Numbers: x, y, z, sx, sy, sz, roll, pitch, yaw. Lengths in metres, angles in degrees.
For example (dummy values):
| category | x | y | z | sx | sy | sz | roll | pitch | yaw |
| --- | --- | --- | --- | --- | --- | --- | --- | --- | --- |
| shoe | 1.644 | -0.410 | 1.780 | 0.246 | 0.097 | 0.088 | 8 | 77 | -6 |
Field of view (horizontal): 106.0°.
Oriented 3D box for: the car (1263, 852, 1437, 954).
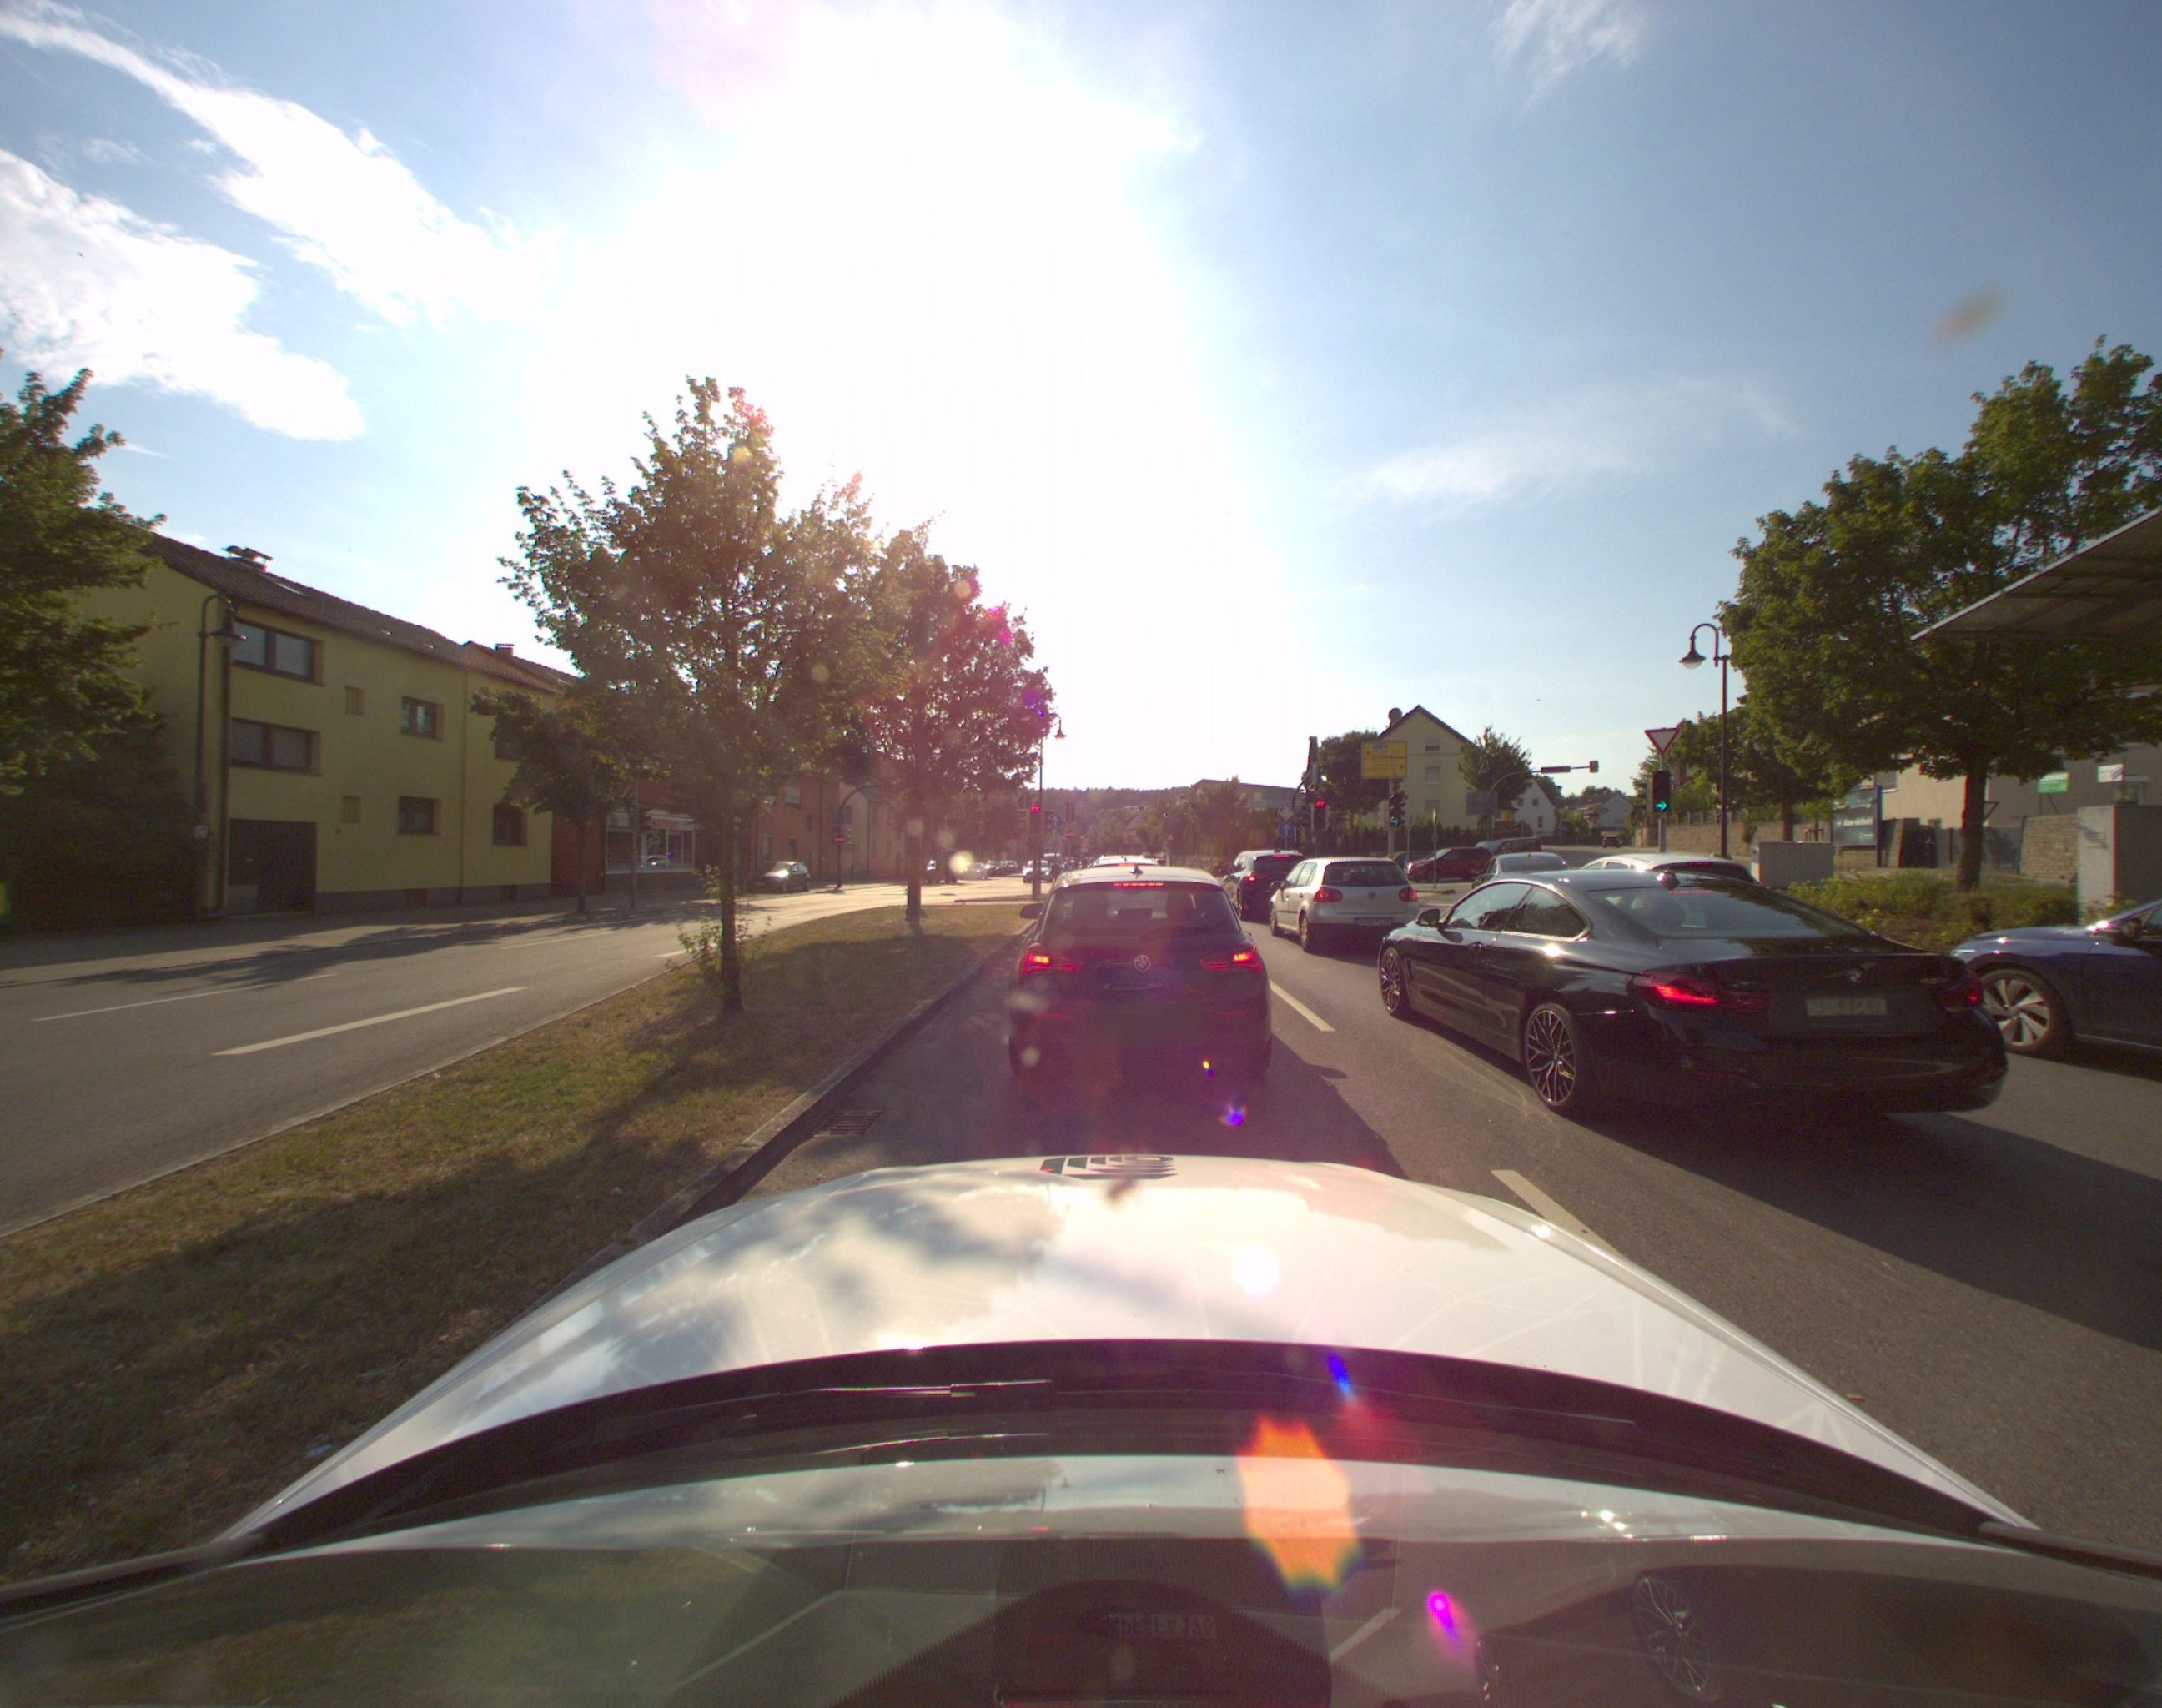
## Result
| category | x | y | z | sx | sy | sz | roll | pitch | yaw |
| --- | --- | --- | --- | --- | --- | --- | --- | --- | --- |
| car | 4.332 | 0.717 | 13.758 | 1.755 | 1.426 | 3.905 | -2 | 0 | 2 |

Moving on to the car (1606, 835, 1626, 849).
| category | x | y | z | sx | sy | sz | roll | pitch | yaw |
| --- | --- | --- | --- | --- | --- | --- | --- | --- | --- |
| car | 71.222 | -1.601 | 108.312 | 1.945 | 1.680 | 4.242 | -2 | 0 | 36 |

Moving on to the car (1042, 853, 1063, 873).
| category | x | y | z | sx | sy | sz | roll | pitch | yaw |
| --- | --- | --- | --- | --- | --- | --- | --- | --- | --- |
| car | -3.448 | 1.091 | 100.494 | 2.075 | 2.394 | 5.534 | 0 | -1 | 4 |

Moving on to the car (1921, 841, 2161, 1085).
| category | x | y | z | sx | sy | sz | roll | pitch | yaw |
| --- | --- | --- | --- | --- | --- | --- | --- | --- | --- |
| car | 7.399 | 0.652 | 4.231 | 1.754 | 1.453 | 4.323 | -2 | 0 | 4 |

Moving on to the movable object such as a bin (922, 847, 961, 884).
| category | x | y | z | sx | sy | sz | roll | pitch | yaw |
| --- | --- | --- | --- | --- | --- | --- | --- | --- | --- |
| movable object such as a bin | -9.714 | 0.793 | 57.136 | 1.729 | 2.442 | 4.452 | -1 | 0 | 3 |

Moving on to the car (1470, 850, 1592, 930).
| category | x | y | z | sx | sy | sz | roll | pitch | yaw |
| --- | --- | --- | --- | --- | --- | --- | --- | --- | --- |
| car | 9.892 | 0.714 | 18.234 | 1.642 | 1.542 | 4.420 | -2 | 0 | 19 |

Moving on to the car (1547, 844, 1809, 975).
| category | x | y | z | sx | sy | sz | roll | pitch | yaw |
| --- | --- | --- | --- | --- | --- | --- | --- | --- | --- |
| car | 8.122 | 0.672 | 11.460 | 1.608 | 1.542 | 3.326 | -2 | 0 | 9 |

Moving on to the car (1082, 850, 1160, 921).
| category | x | y | z | sx | sy | sz | roll | pitch | yaw |
| --- | --- | --- | --- | --- | --- | --- | --- | --- | --- |
| car | 1.031 | 0.741 | 21.146 | 1.781 | 1.594 | 4.283 | -2 | 0 | 2 |

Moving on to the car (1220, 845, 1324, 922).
| category | x | y | z | sx | sy | sz | roll | pitch | yaw |
| --- | --- | --- | --- | --- | --- | --- | --- | --- | --- |
| car | 4.579 | 0.650 | 20.040 | 1.755 | 1.656 | 3.905 | -2 | 0 | 2 |

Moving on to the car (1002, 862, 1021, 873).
| category | x | y | z | sx | sy | sz | roll | pitch | yaw |
| --- | --- | --- | --- | --- | --- | --- | --- | --- | --- |
| car | -8.834 | 1.692 | 103.253 | 1.729 | 1.301 | 3.804 | 4 | 0 | 5 |

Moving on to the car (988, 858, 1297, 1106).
| category | x | y | z | sx | sy | sz | roll | pitch | yaw |
| --- | --- | --- | --- | --- | --- | --- | --- | --- | --- |
| car | 0.453 | 0.773 | 6.963 | 1.781 | 1.397 | 4.283 | -2 | 0 | 2 |

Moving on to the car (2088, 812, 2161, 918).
| category | x | y | z | sx | sy | sz | roll | pitch | yaw |
| --- | --- | --- | --- | --- | --- | --- | --- | --- | --- |
| car | 18.504 | 0.159 | 12.381 | 3.793 | 1.632 | 1.784 | 0 | 0 | 10 |

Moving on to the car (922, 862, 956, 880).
| category | x | y | z | sx | sy | sz | roll | pitch | yaw |
| --- | --- | --- | --- | --- | --- | --- | --- | --- | --- |
| car | -11.736 | 1.426 | 67.589 | 1.728 | 1.301 | 4.006 | 4 | 0 | 6 |

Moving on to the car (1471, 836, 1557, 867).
| category | x | y | z | sx | sy | sz | roll | pitch | yaw |
| --- | --- | --- | --- | --- | --- | --- | --- | --- | --- |
| car | 24.793 | -0.153 | 46.613 | 4.791 | 1.739 | 1.833 | 0 | 0 | -25 |

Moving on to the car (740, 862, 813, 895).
| category | x | y | z | sx | sy | sz | roll | pitch | yaw |
| --- | --- | --- | --- | --- | --- | --- | --- | --- | --- |
| car | -14.129 | 1.115 | 38.026 | 1.730 | 1.301 | 4.002 | 4 | 0 | 2 |

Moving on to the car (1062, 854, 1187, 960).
| category | x | y | z | sx | sy | sz | roll | pitch | yaw |
| --- | --- | --- | --- | --- | --- | --- | --- | --- | --- |
| car | 0.730 | 0.781 | 14.107 | 1.781 | 1.494 | 4.283 | -2 | 0 | 2 |

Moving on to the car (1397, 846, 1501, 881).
| category | x | y | z | sx | sy | sz | roll | pitch | yaw |
| --- | --- | --- | --- | --- | --- | --- | --- | --- | --- |
| car | 18.359 | 0.458 | 40.733 | 4.410 | 1.641 | 1.845 | 0 | 0 | -6 |

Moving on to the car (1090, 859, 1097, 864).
| category | x | y | z | sx | sy | sz | roll | pitch | yaw |
| --- | --- | --- | --- | --- | --- | --- | --- | --- | --- |
| car | 3.555 | 2.180 | 239.729 | 1.729 | 1.301 | 3.804 | 4 | 0 | 5 |

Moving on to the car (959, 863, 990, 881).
| category | x | y | z | sx | sy | sz | roll | pitch | yaw |
| --- | --- | --- | --- | --- | --- | --- | --- | --- | --- |
| car | -8.983 | 1.505 | 69.011 | 1.729 | 1.301 | 3.804 | 4 | 0 | 5 |

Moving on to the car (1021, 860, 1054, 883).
| category | x | y | z | sx | sy | sz | roll | pitch | yaw |
| --- | --- | --- | --- | --- | --- | --- | --- | --- | --- |
| car | -2.943 | 1.155 | 55.732 | 1.832 | 1.482 | 4.002 | -1 | 0 | 2 |

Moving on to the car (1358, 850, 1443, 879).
| category | x | y | z | sx | sy | sz | roll | pitch | yaw |
| --- | --- | --- | --- | --- | --- | --- | --- | --- | --- |
| car | 17.355 | 0.571 | 44.356 | 3.974 | 1.489 | 1.848 | 0 | 0 | -1 |

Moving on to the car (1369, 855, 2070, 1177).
| category | x | y | z | sx | sy | sz | roll | pitch | yaw |
| --- | --- | --- | --- | --- | --- | --- | --- | --- | --- |
| car | 3.631 | 0.740 | 5.818 | 1.755 | 1.397 | 4.283 | -2 | 0 | 2 |

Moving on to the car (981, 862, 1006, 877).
| category | x | y | z | sx | sy | sz | roll | pitch | yaw |
| --- | --- | --- | --- | --- | --- | --- | --- | --- | --- |
| car | -8.640 | 1.552 | 80.827 | 1.729 | 1.301 | 3.804 | 4 | 0 | 5 |
